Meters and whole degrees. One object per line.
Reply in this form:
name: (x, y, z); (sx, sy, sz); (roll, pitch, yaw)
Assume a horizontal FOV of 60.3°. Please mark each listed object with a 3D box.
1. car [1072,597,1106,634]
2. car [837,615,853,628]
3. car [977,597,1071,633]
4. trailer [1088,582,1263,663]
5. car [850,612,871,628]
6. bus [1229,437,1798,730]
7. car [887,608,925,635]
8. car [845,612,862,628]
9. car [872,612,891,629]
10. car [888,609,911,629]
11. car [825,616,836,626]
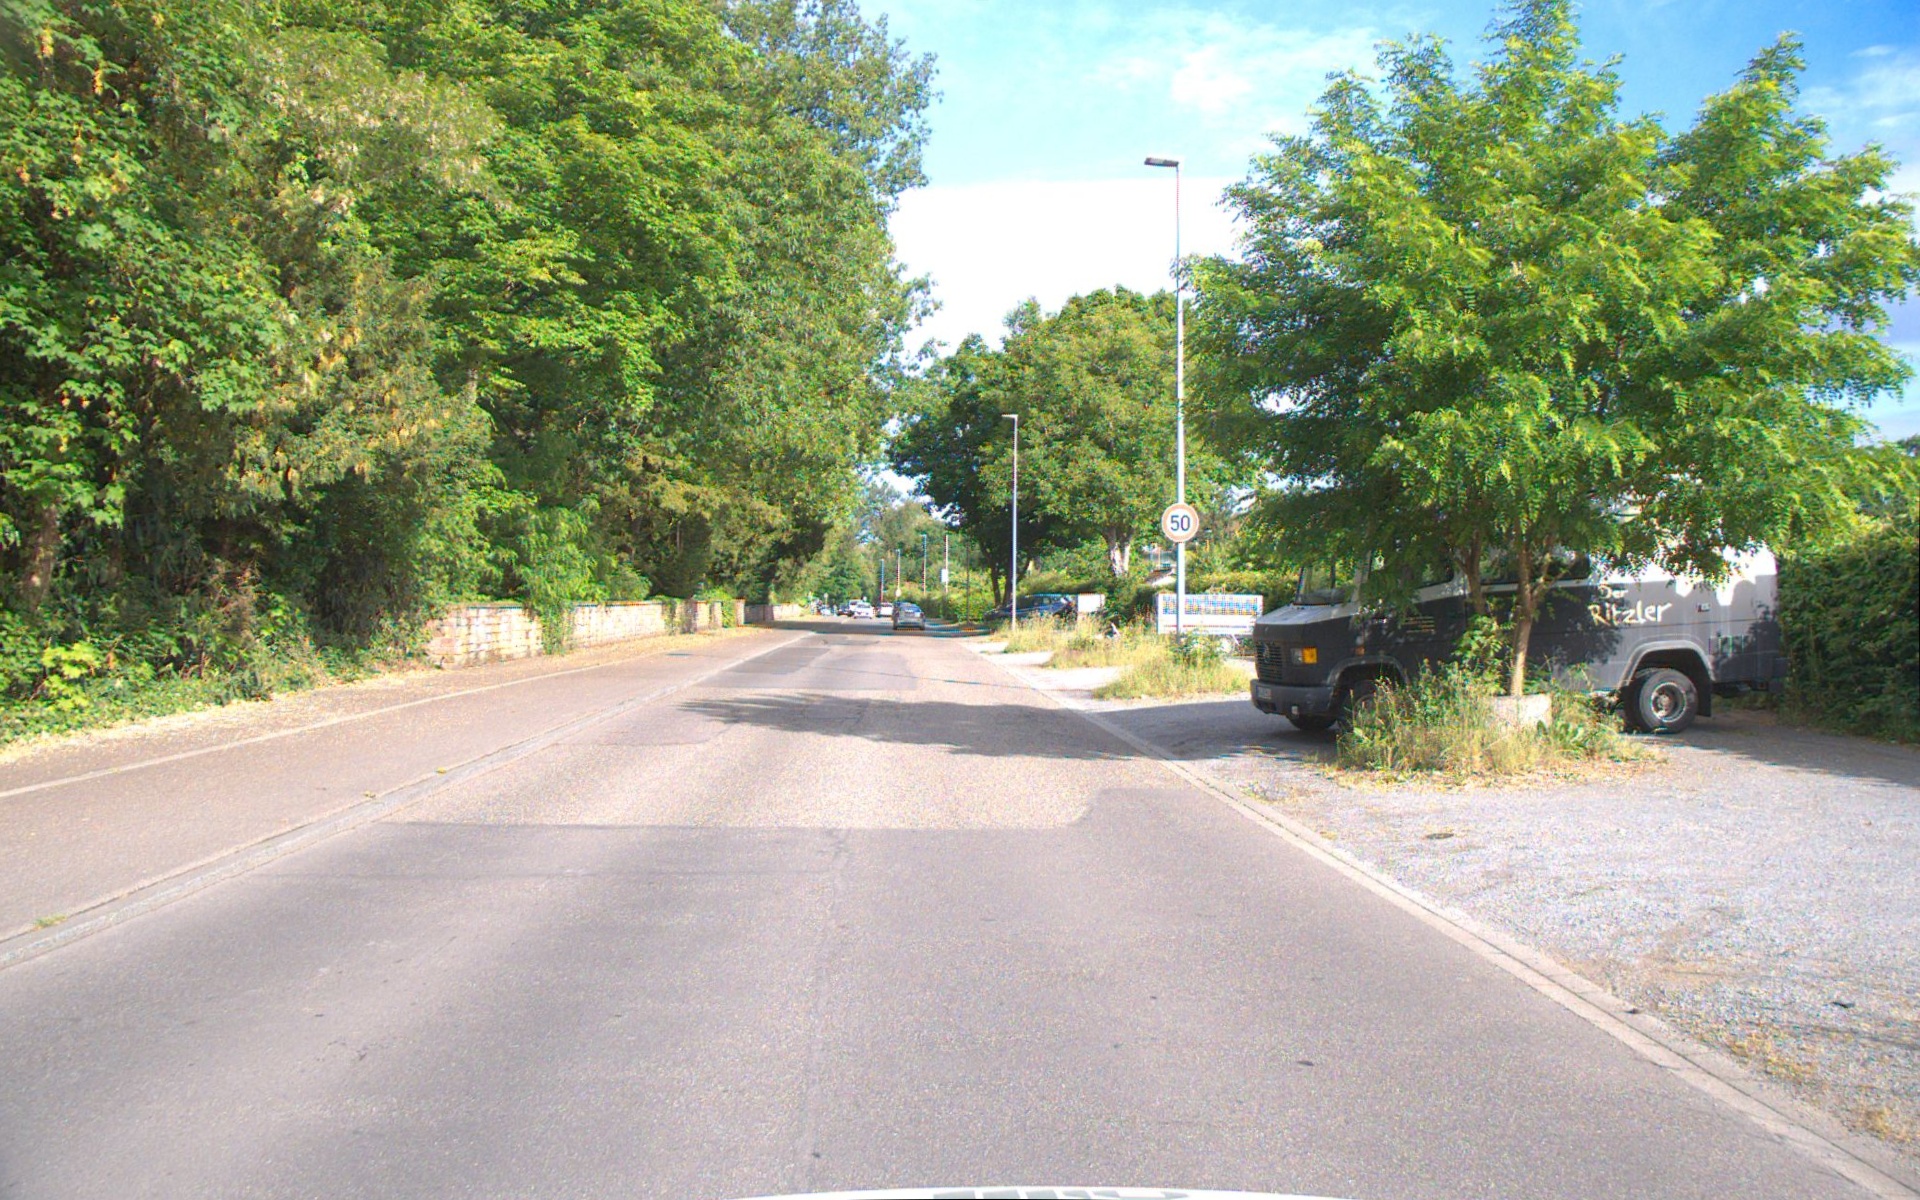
car: (6.027, 0.715, 77.044); (1.322, 1.661, 4.114); (-1, -1, 7)
car: (-14.743, 2.774, 212.113); (1.849, 1.641, 4.051); (2, -1, -4)
car: (3.038, 0.724, 78.937); (4.314, 1.676, 1.999); (-1, -1, -2)
trailer: (5.254, 0.560, 40.637); (4.066, 1.867, 1.916); (1, -1, 1)
car: (-9.265, 1.859, 153.983); (1.850, 1.396, 4.050); (2, -1, -5)
bus: (5.663, -0.133, 17.298); (5.261, 2.795, 2.066); (1, -1, -6)
car: (-2.924, 1.175, 89.029); (1.849, 1.396, 4.051); (2, -1, -4)
car: (-11.844, 2.248, 183.817); (1.849, 1.641, 4.051); (2, -1, -4)
car: (-8.065, 2.148, 170.228); (1.849, 1.641, 4.051); (2, -1, -4)
car: (-5.279, 1.700, 144.505); (1.849, 1.641, 4.051); (2, -1, -4)
car: (-19.169, 3.091, 244.938); (1.546, 1.477, 3.395); (1, -1, -4)
